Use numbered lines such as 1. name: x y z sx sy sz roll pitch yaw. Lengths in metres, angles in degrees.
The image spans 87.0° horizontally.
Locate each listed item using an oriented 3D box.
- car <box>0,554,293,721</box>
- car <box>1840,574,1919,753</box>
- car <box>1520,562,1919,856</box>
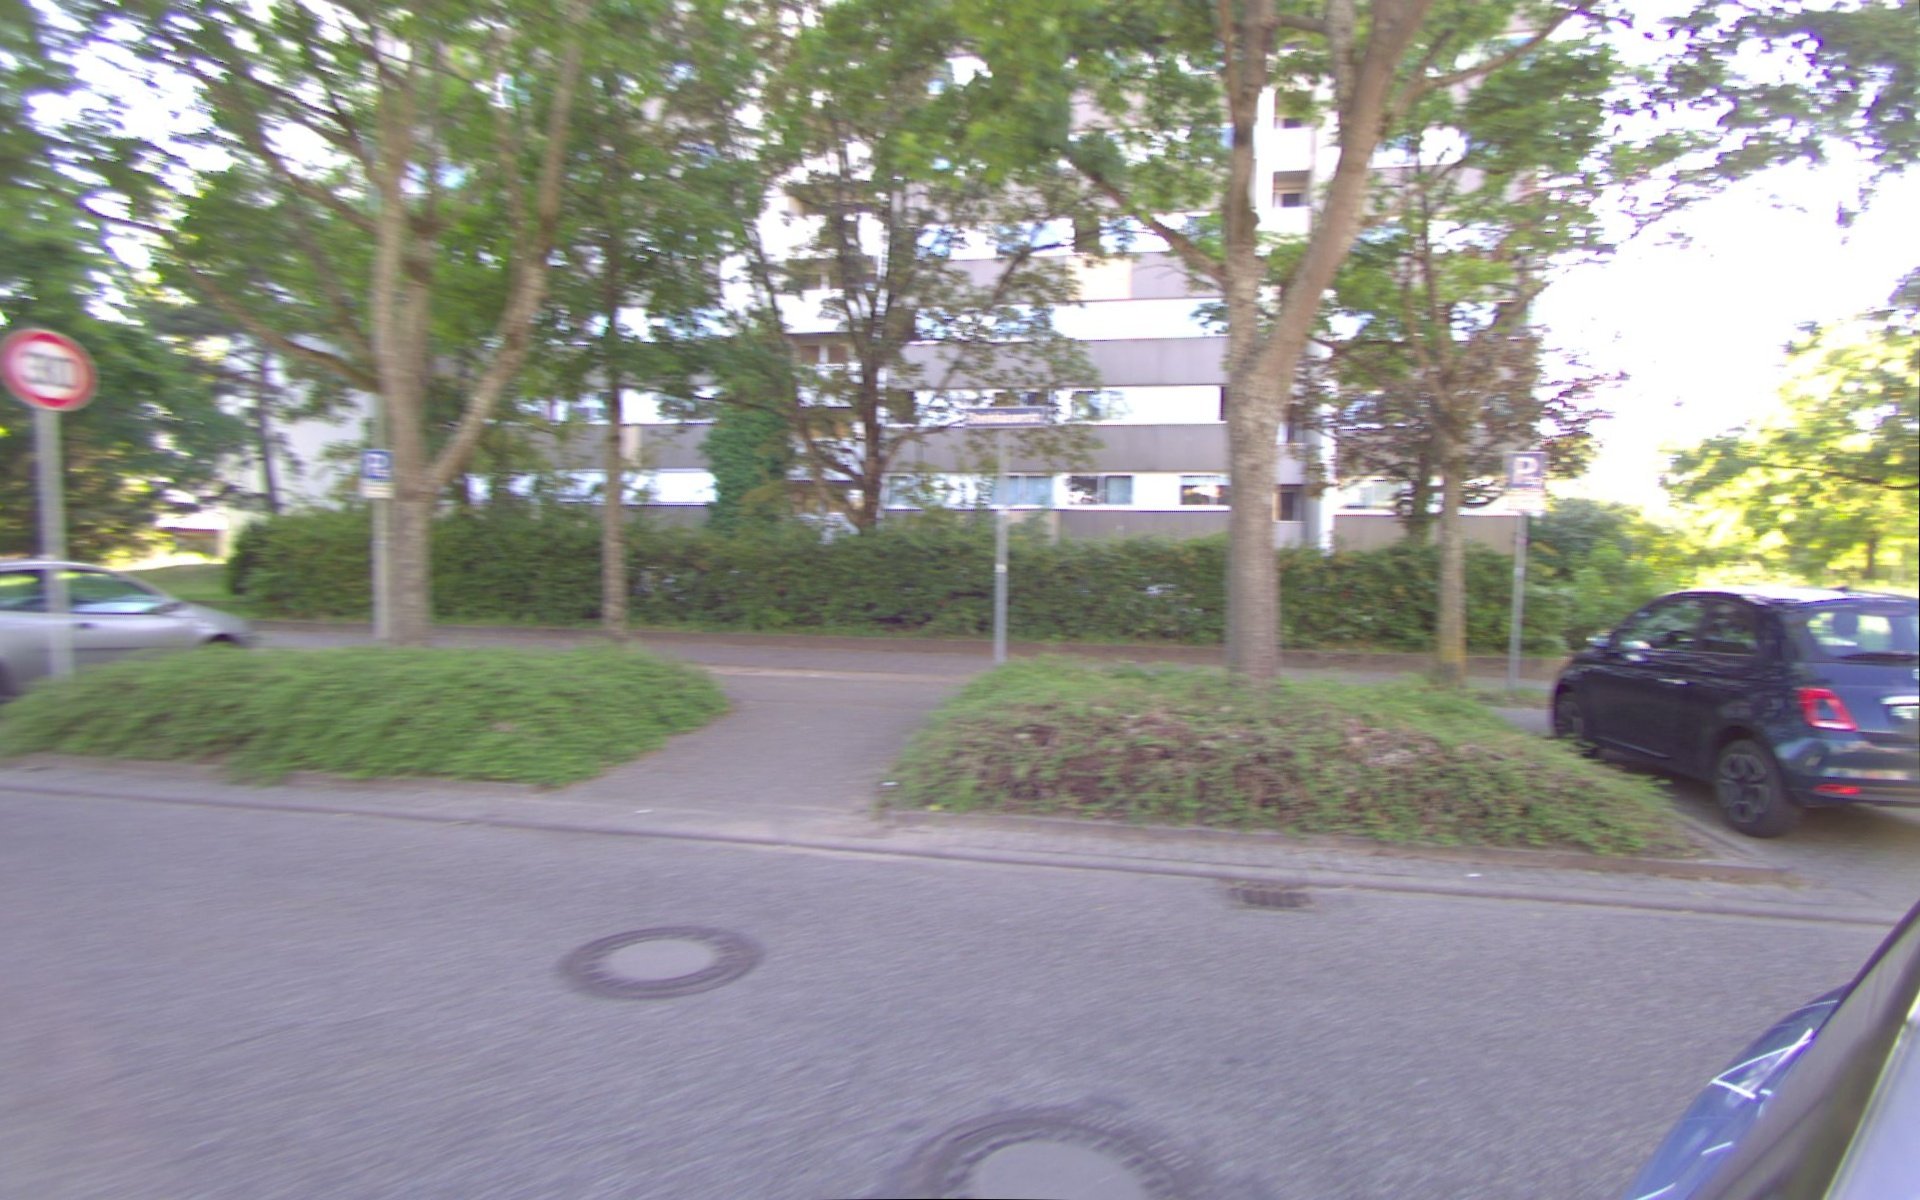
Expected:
1. car: -9.287 0.281 10.480 1.690 1.468 3.990 1 3 10
2. car: 8.468 0.628 6.917 1.792 1.403 3.992 1 4 9
3. car: 5.813 0.539 7.370 1.672 1.517 3.816 1 3 7
